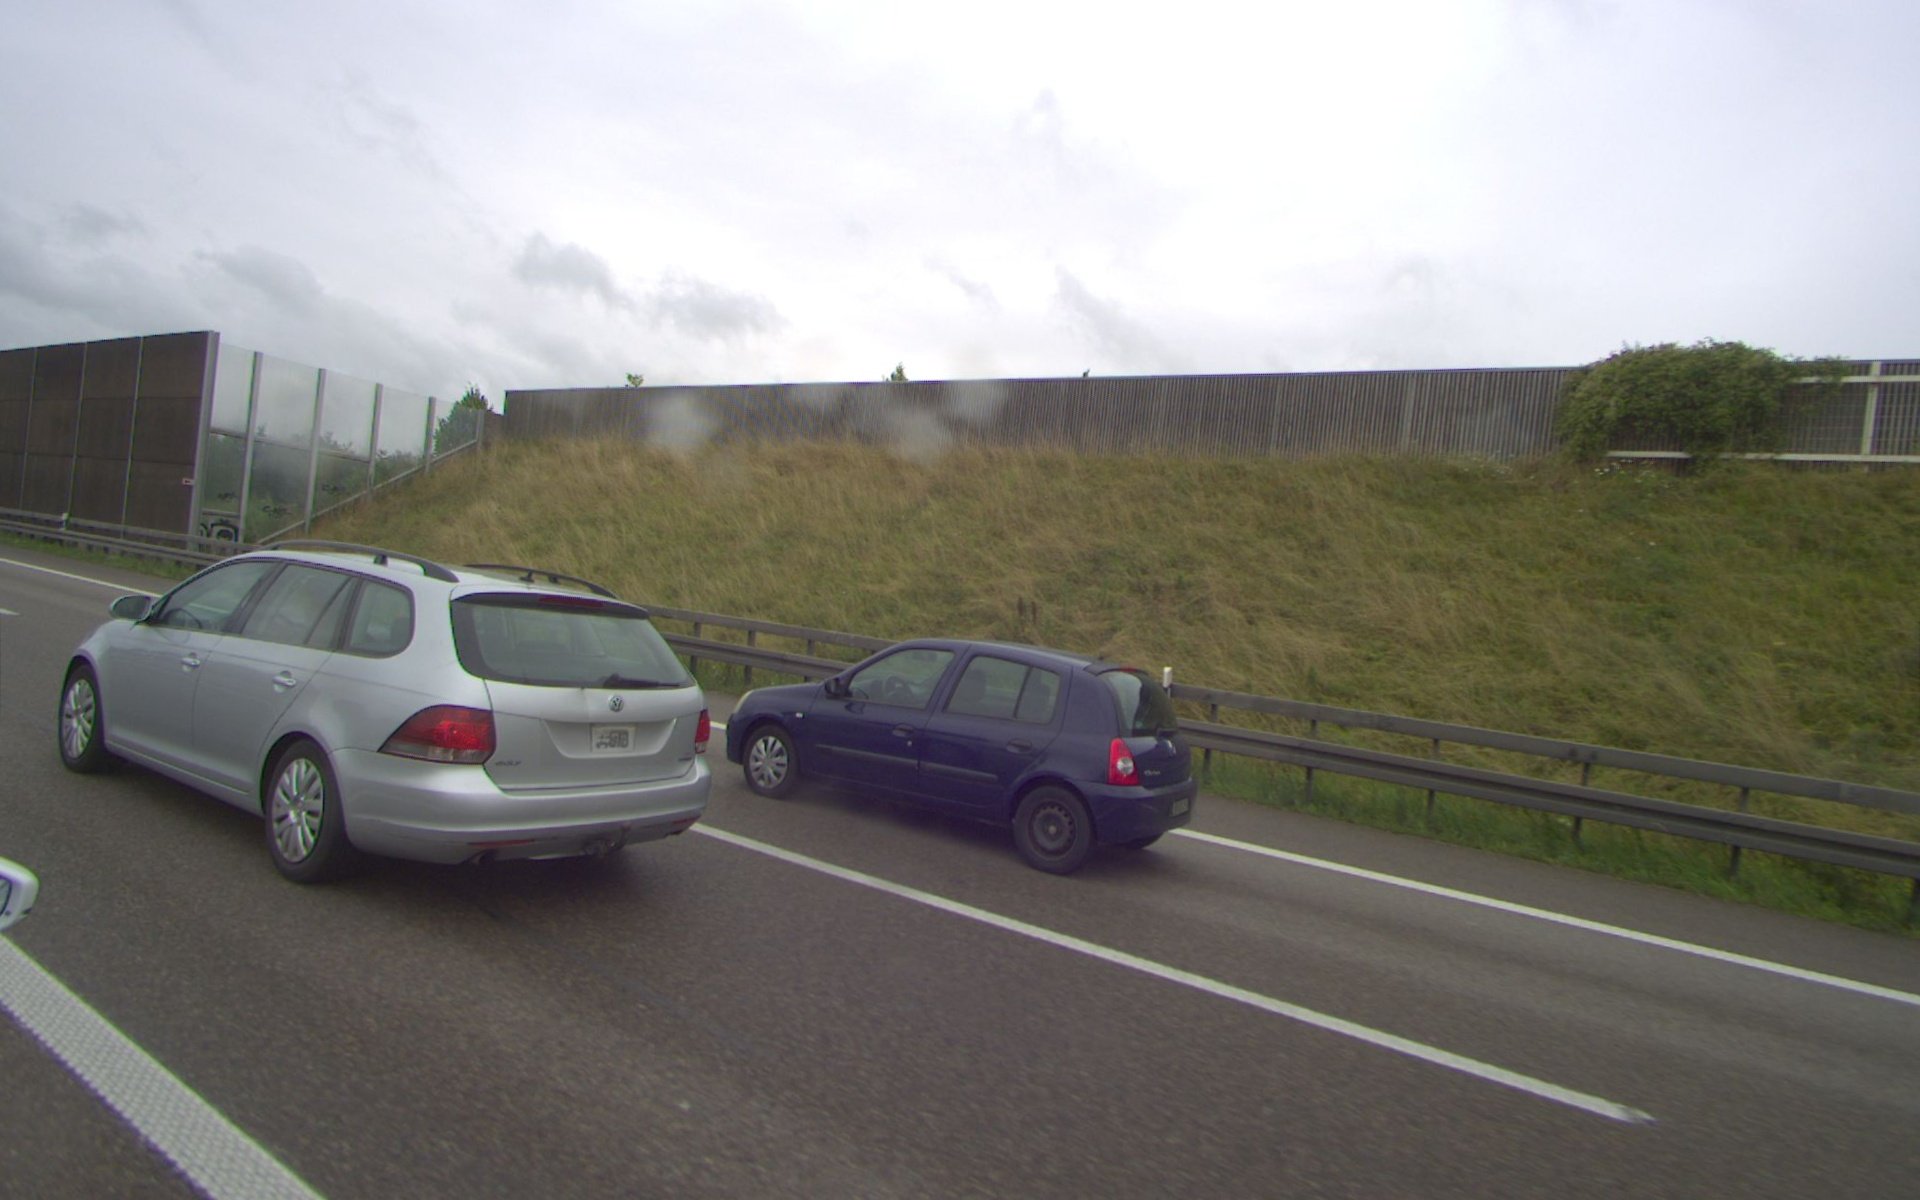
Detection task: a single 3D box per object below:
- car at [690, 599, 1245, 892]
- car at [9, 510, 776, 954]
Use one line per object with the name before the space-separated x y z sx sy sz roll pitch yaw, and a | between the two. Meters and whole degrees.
car | -0.012 0.950 7.719 3.811 1.417 1.706 6 -2 31
car | -3.360 0.455 5.664 4.442 1.442 1.744 7 0 32
